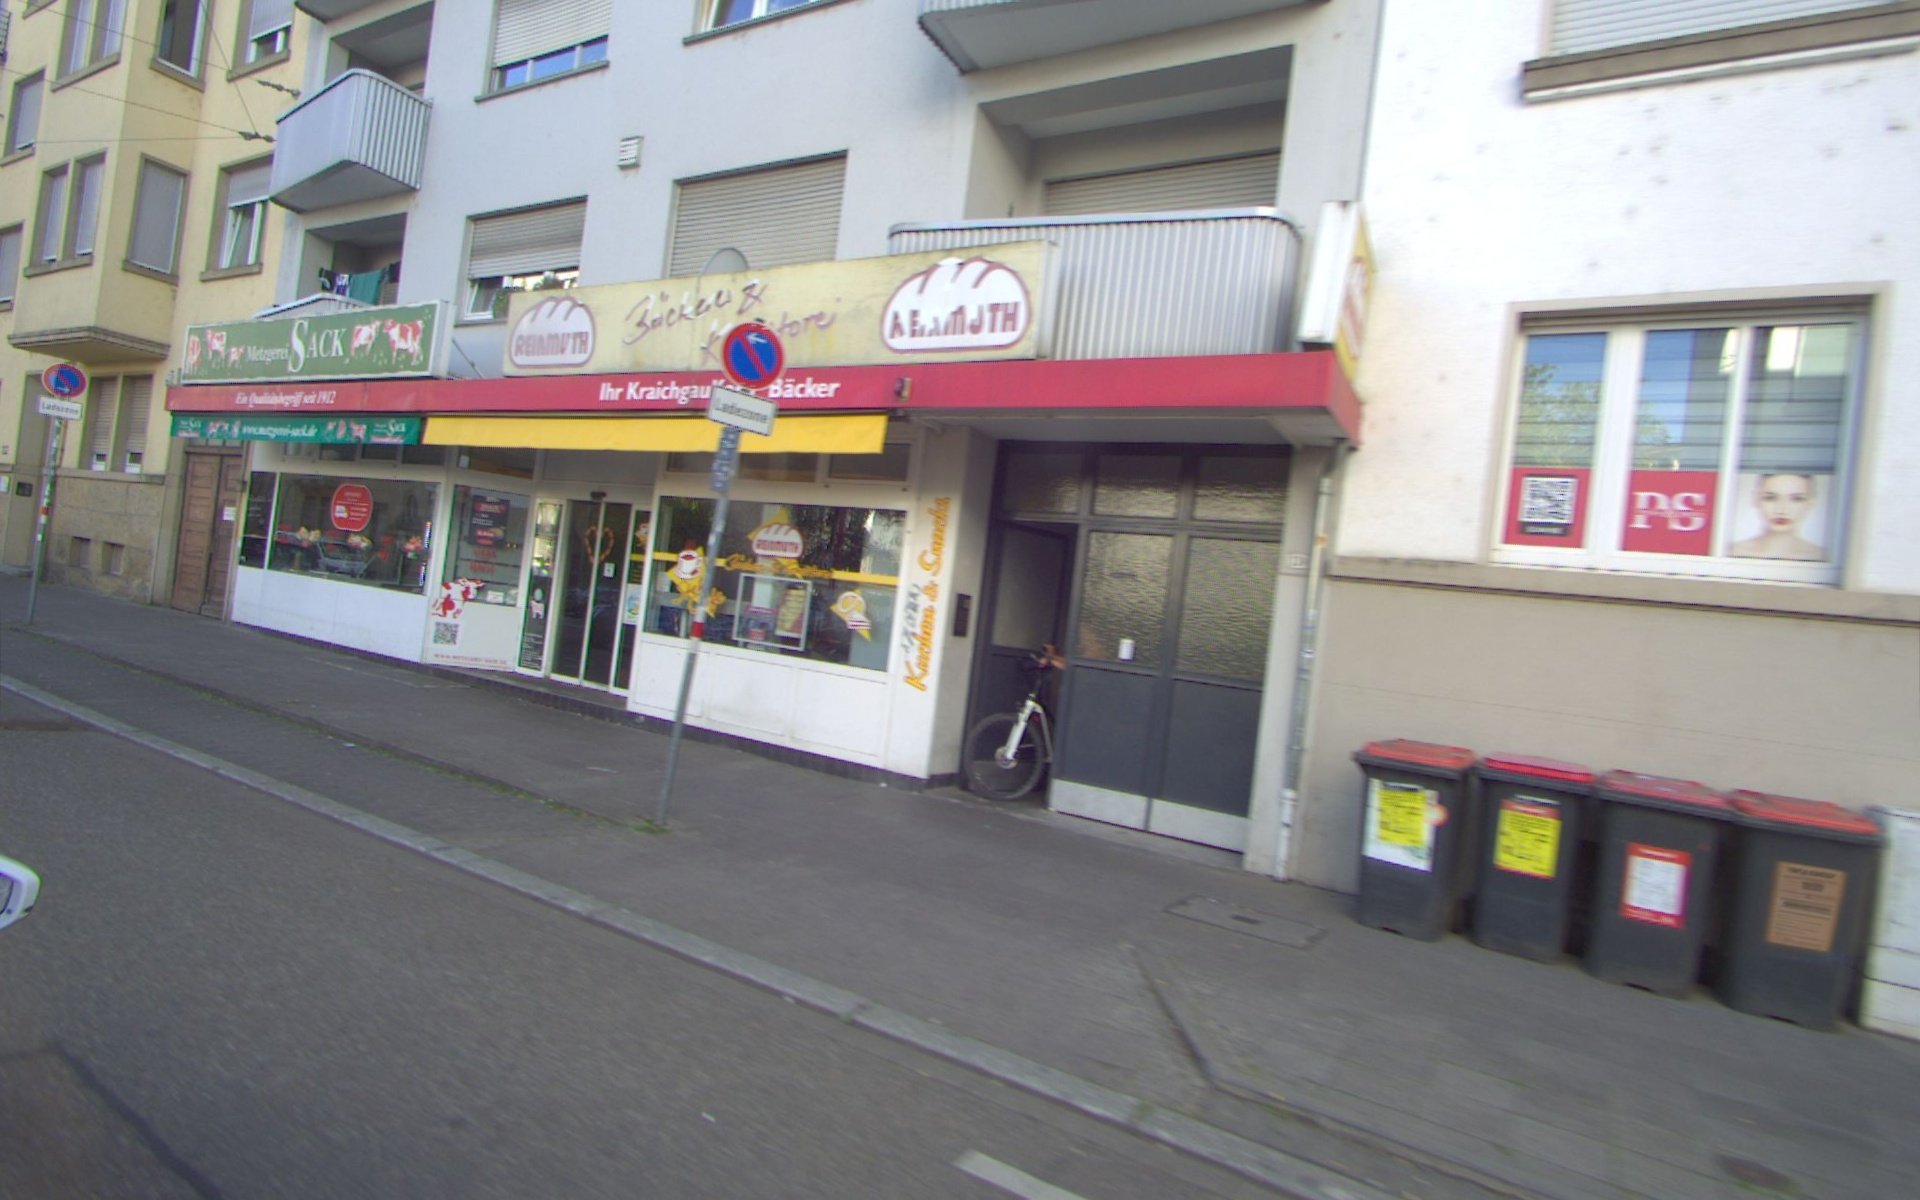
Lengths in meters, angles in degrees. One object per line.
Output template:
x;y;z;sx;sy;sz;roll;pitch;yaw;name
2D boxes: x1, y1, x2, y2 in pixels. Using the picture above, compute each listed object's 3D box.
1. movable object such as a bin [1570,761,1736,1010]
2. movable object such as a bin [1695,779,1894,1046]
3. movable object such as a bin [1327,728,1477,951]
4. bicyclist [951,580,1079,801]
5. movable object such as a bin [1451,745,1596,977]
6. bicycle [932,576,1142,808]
3.625;1.454;5.316;0.560;1.085;0.677;7;-1;30;movable object such as a bin
4.145;1.510;5.046;0.560;1.085;0.677;7;-1;30;movable object such as a bin
2.584;1.337;5.849;0.607;1.085;0.772;7;-1;30;movable object such as a bin
0.478;0.760;8.454;0.502;1.722;0.843;7;-1;34;bicyclist
3.138;1.407;5.614;0.560;1.085;0.677;7;-1;30;movable object such as a bin
0.730;0.808;8.747;0.763;1.730;1.933;7;-2;34;bicycle
